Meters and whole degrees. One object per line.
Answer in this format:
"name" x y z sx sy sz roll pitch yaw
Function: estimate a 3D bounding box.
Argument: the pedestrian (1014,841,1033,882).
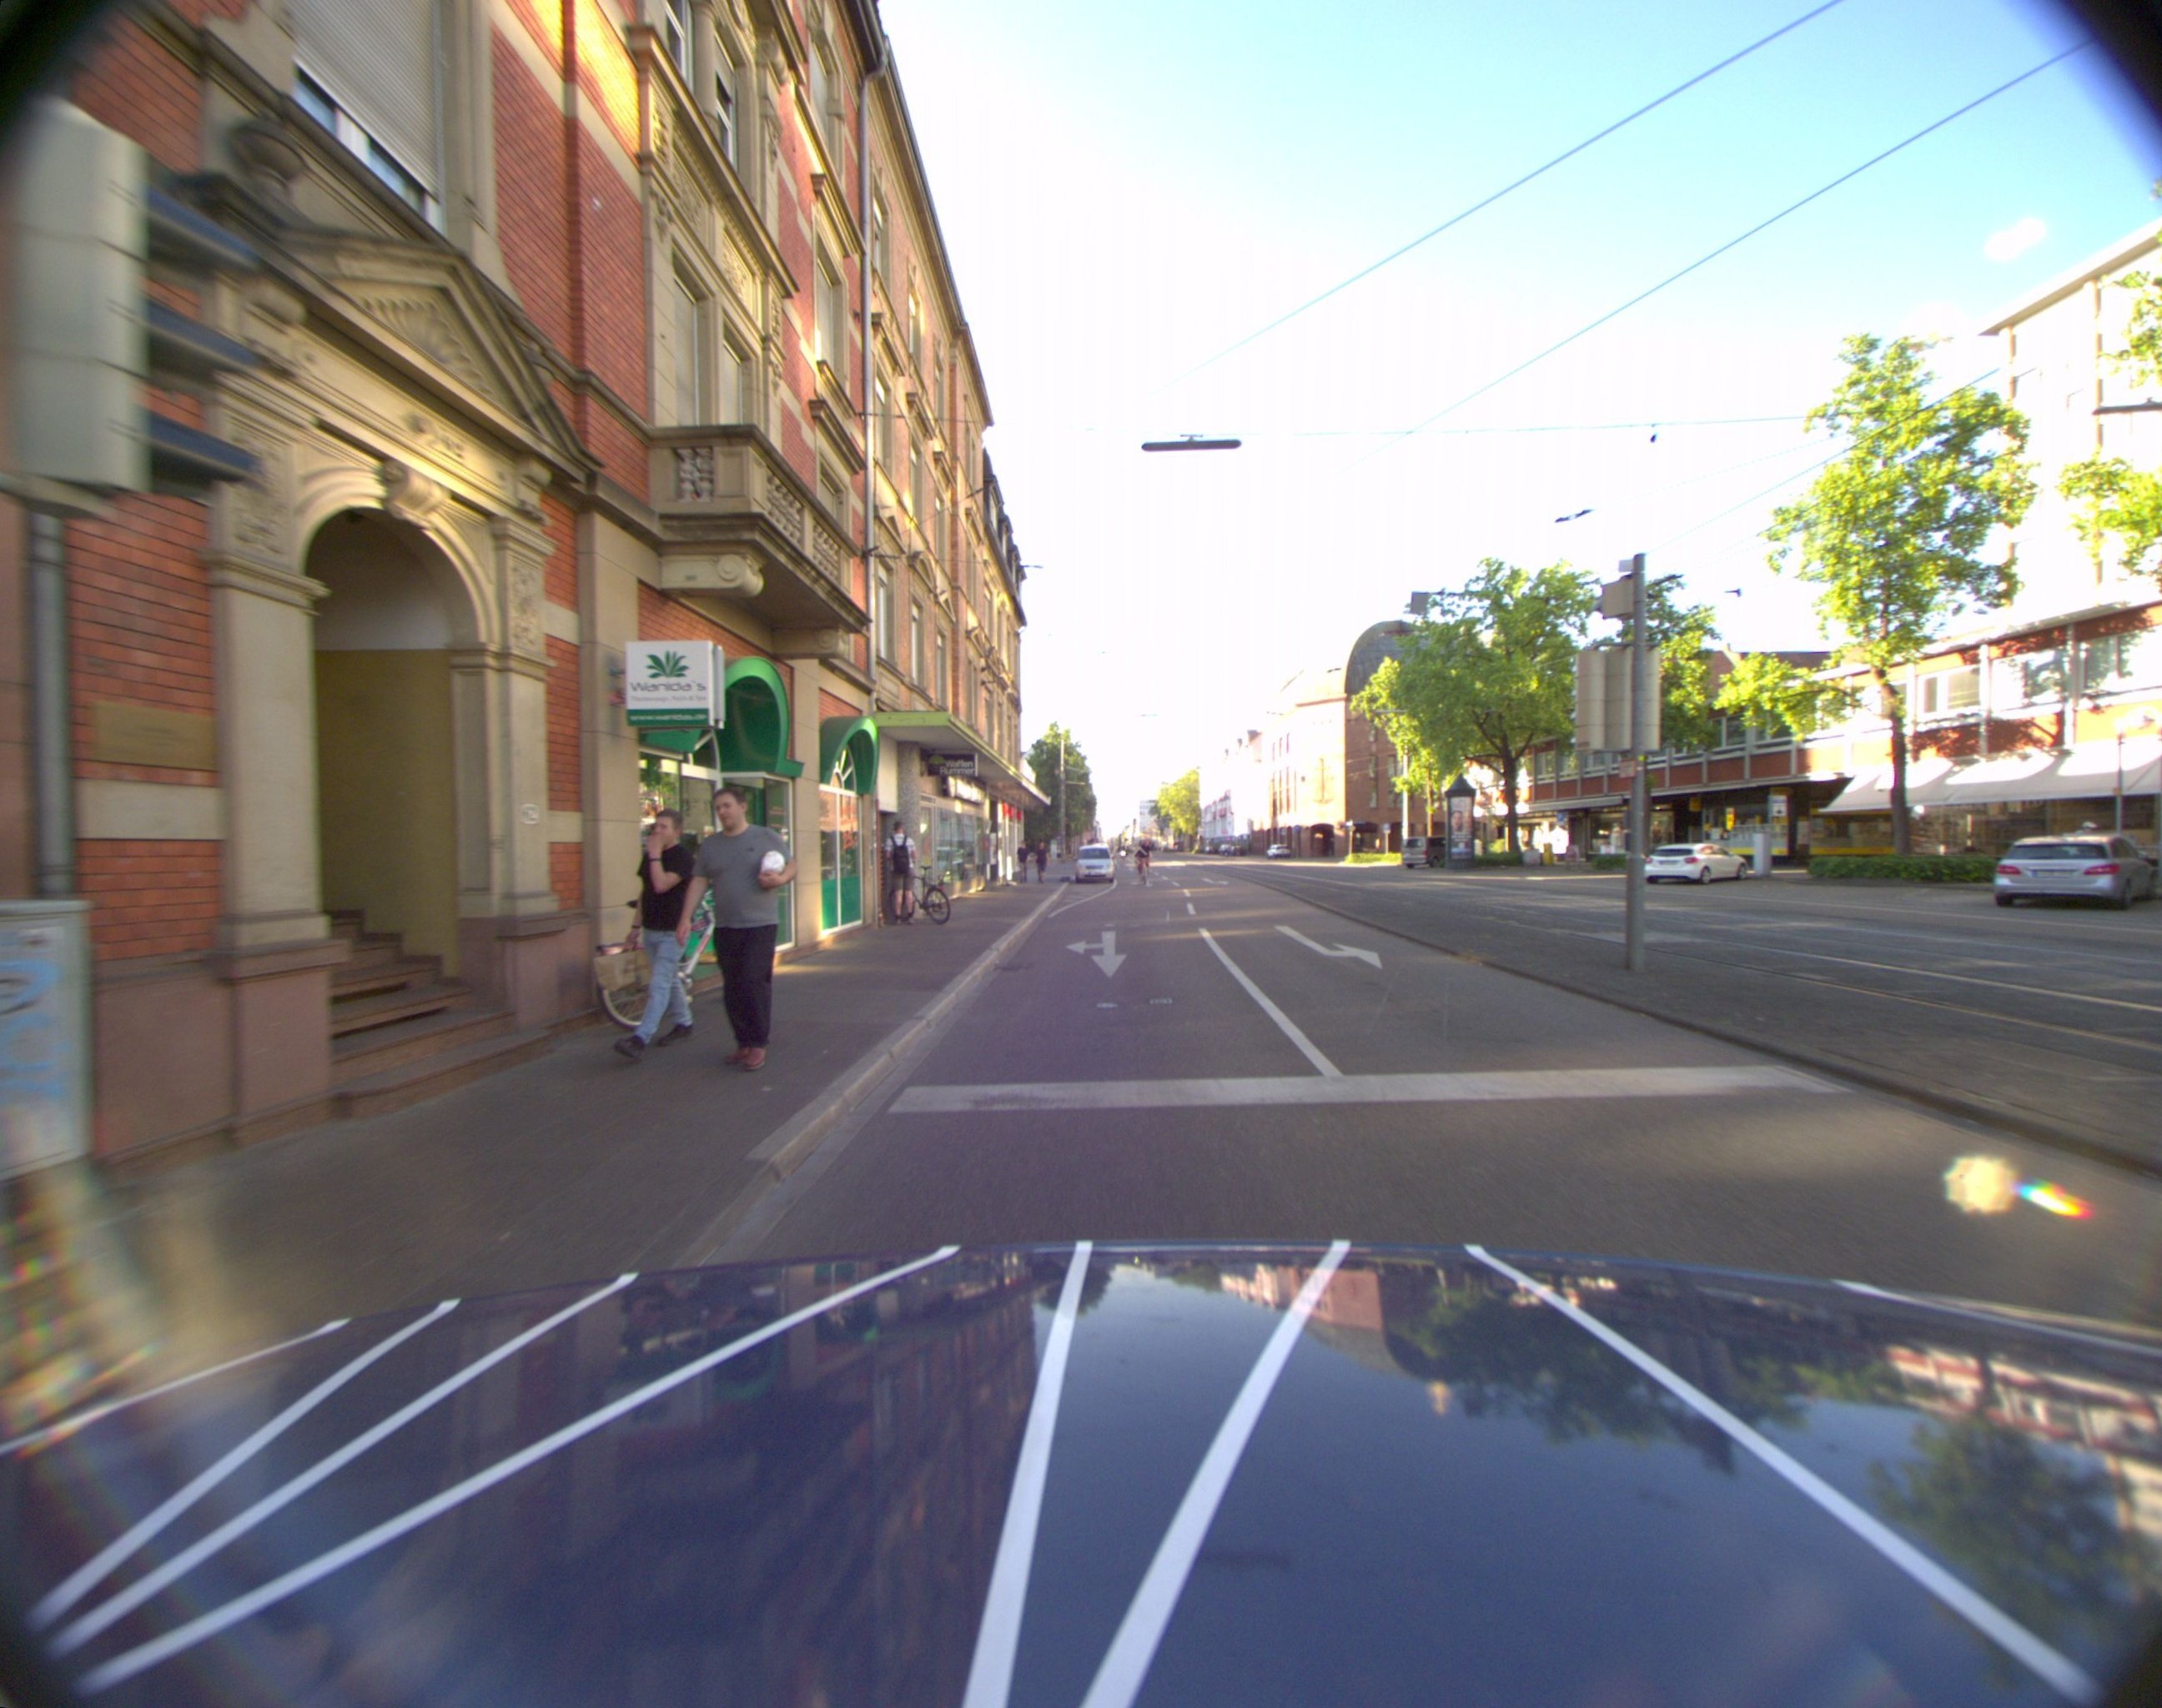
"pedestrian" -2.437 0.311 32.101 0.700 1.713 0.681 1 1 4

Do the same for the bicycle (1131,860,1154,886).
"bicycle" 2.495 0.753 30.649 0.885 0.949 1.766 0 1 5

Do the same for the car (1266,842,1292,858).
"car" 22.072 -0.461 84.781 1.910 1.594 3.999 -2 1 0

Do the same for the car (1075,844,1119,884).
"car" 0.790 0.397 33.947 1.670 1.674 4.001 -1 1 5

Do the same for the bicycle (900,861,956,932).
"bicycle" -3.034 0.792 14.895 0.669 1.246 1.891 -1 1 -24

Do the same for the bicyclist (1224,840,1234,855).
"bicyclist" 14.694 -0.640 75.304 0.761 1.414 0.674 1 2 44

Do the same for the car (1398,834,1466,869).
"car" 21.607 -0.170 46.692 4.006 1.953 1.907 -3 2 -32

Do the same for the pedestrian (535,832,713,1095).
"pedestrian" -3.165 0.712 5.341 0.777 1.713 0.754 1 1 3

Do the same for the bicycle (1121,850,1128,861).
"bicycle" 4.599 0.151 80.776 0.646 1.176 1.804 -1 1 -1

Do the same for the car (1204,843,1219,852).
"car" 23.551 -1.146 137.208 1.964 1.594 3.999 -2 1 0

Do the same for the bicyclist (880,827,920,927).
"bicyclist" -3.492 0.429 14.665 0.600 1.871 0.742 -1 1 -24

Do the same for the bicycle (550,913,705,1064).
"bicycle" -3.668 1.043 6.248 0.345 0.990 1.241 1 1 11

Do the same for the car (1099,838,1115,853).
"car" 3.000 -0.988 86.118 1.670 1.674 4.000 -1 1 4

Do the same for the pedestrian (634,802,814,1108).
"pedestrian" -2.337 0.621 5.071 0.823 1.884 0.754 1 1 3

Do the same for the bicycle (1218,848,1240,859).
"bicycle" 14.667 -0.076 75.348 2.033 1.085 0.674 0 2 44

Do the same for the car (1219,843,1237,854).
"car" 22.860 -0.798 118.284 1.964 1.594 3.999 -2 1 0

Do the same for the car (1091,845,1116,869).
"car" 1.695 0.214 55.965 1.670 1.674 4.000 -1 1 4

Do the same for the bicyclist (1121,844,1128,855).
"bicyclist" 4.654 -0.500 80.795 0.646 1.176 0.723 -1 1 -1

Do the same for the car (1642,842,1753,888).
"car" 22.634 0.378 27.860 4.005 1.466 1.793 -2 1 -29

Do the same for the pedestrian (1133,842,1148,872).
"pedestrian" 3.329 0.181 42.470 0.849 1.652 0.850 0 1 6

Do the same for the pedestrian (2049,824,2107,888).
"pedestrian" 28.121 0.049 21.445 0.635 1.759 0.769 0 3 18

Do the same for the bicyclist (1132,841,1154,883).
"bicyclist" 2.508 0.318 30.782 0.885 1.651 0.803 0 1 5

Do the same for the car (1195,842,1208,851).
"car" 24.343 -1.538 153.376 1.964 1.594 3.999 -2 1 0

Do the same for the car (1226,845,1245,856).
"car" 22.702 -0.543 111.655 1.964 1.594 3.999 -2 1 0

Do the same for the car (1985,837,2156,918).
"car" 22.366 0.452 17.158 4.005 1.545 1.793 -2 1 -29

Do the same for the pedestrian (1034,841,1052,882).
"pedestrian" -1.604 0.313 31.968 0.700 1.713 0.502 1 1 3

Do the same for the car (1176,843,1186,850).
"car" 23.400 -1.746 177.833 1.964 1.594 3.999 -2 1 0

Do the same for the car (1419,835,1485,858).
"car" 33.735 -0.690 69.184 4.983 2.002 2.000 -1 1 0

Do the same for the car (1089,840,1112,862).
"car" 1.579 -0.260 61.399 1.670 1.674 4.000 -1 1 4
